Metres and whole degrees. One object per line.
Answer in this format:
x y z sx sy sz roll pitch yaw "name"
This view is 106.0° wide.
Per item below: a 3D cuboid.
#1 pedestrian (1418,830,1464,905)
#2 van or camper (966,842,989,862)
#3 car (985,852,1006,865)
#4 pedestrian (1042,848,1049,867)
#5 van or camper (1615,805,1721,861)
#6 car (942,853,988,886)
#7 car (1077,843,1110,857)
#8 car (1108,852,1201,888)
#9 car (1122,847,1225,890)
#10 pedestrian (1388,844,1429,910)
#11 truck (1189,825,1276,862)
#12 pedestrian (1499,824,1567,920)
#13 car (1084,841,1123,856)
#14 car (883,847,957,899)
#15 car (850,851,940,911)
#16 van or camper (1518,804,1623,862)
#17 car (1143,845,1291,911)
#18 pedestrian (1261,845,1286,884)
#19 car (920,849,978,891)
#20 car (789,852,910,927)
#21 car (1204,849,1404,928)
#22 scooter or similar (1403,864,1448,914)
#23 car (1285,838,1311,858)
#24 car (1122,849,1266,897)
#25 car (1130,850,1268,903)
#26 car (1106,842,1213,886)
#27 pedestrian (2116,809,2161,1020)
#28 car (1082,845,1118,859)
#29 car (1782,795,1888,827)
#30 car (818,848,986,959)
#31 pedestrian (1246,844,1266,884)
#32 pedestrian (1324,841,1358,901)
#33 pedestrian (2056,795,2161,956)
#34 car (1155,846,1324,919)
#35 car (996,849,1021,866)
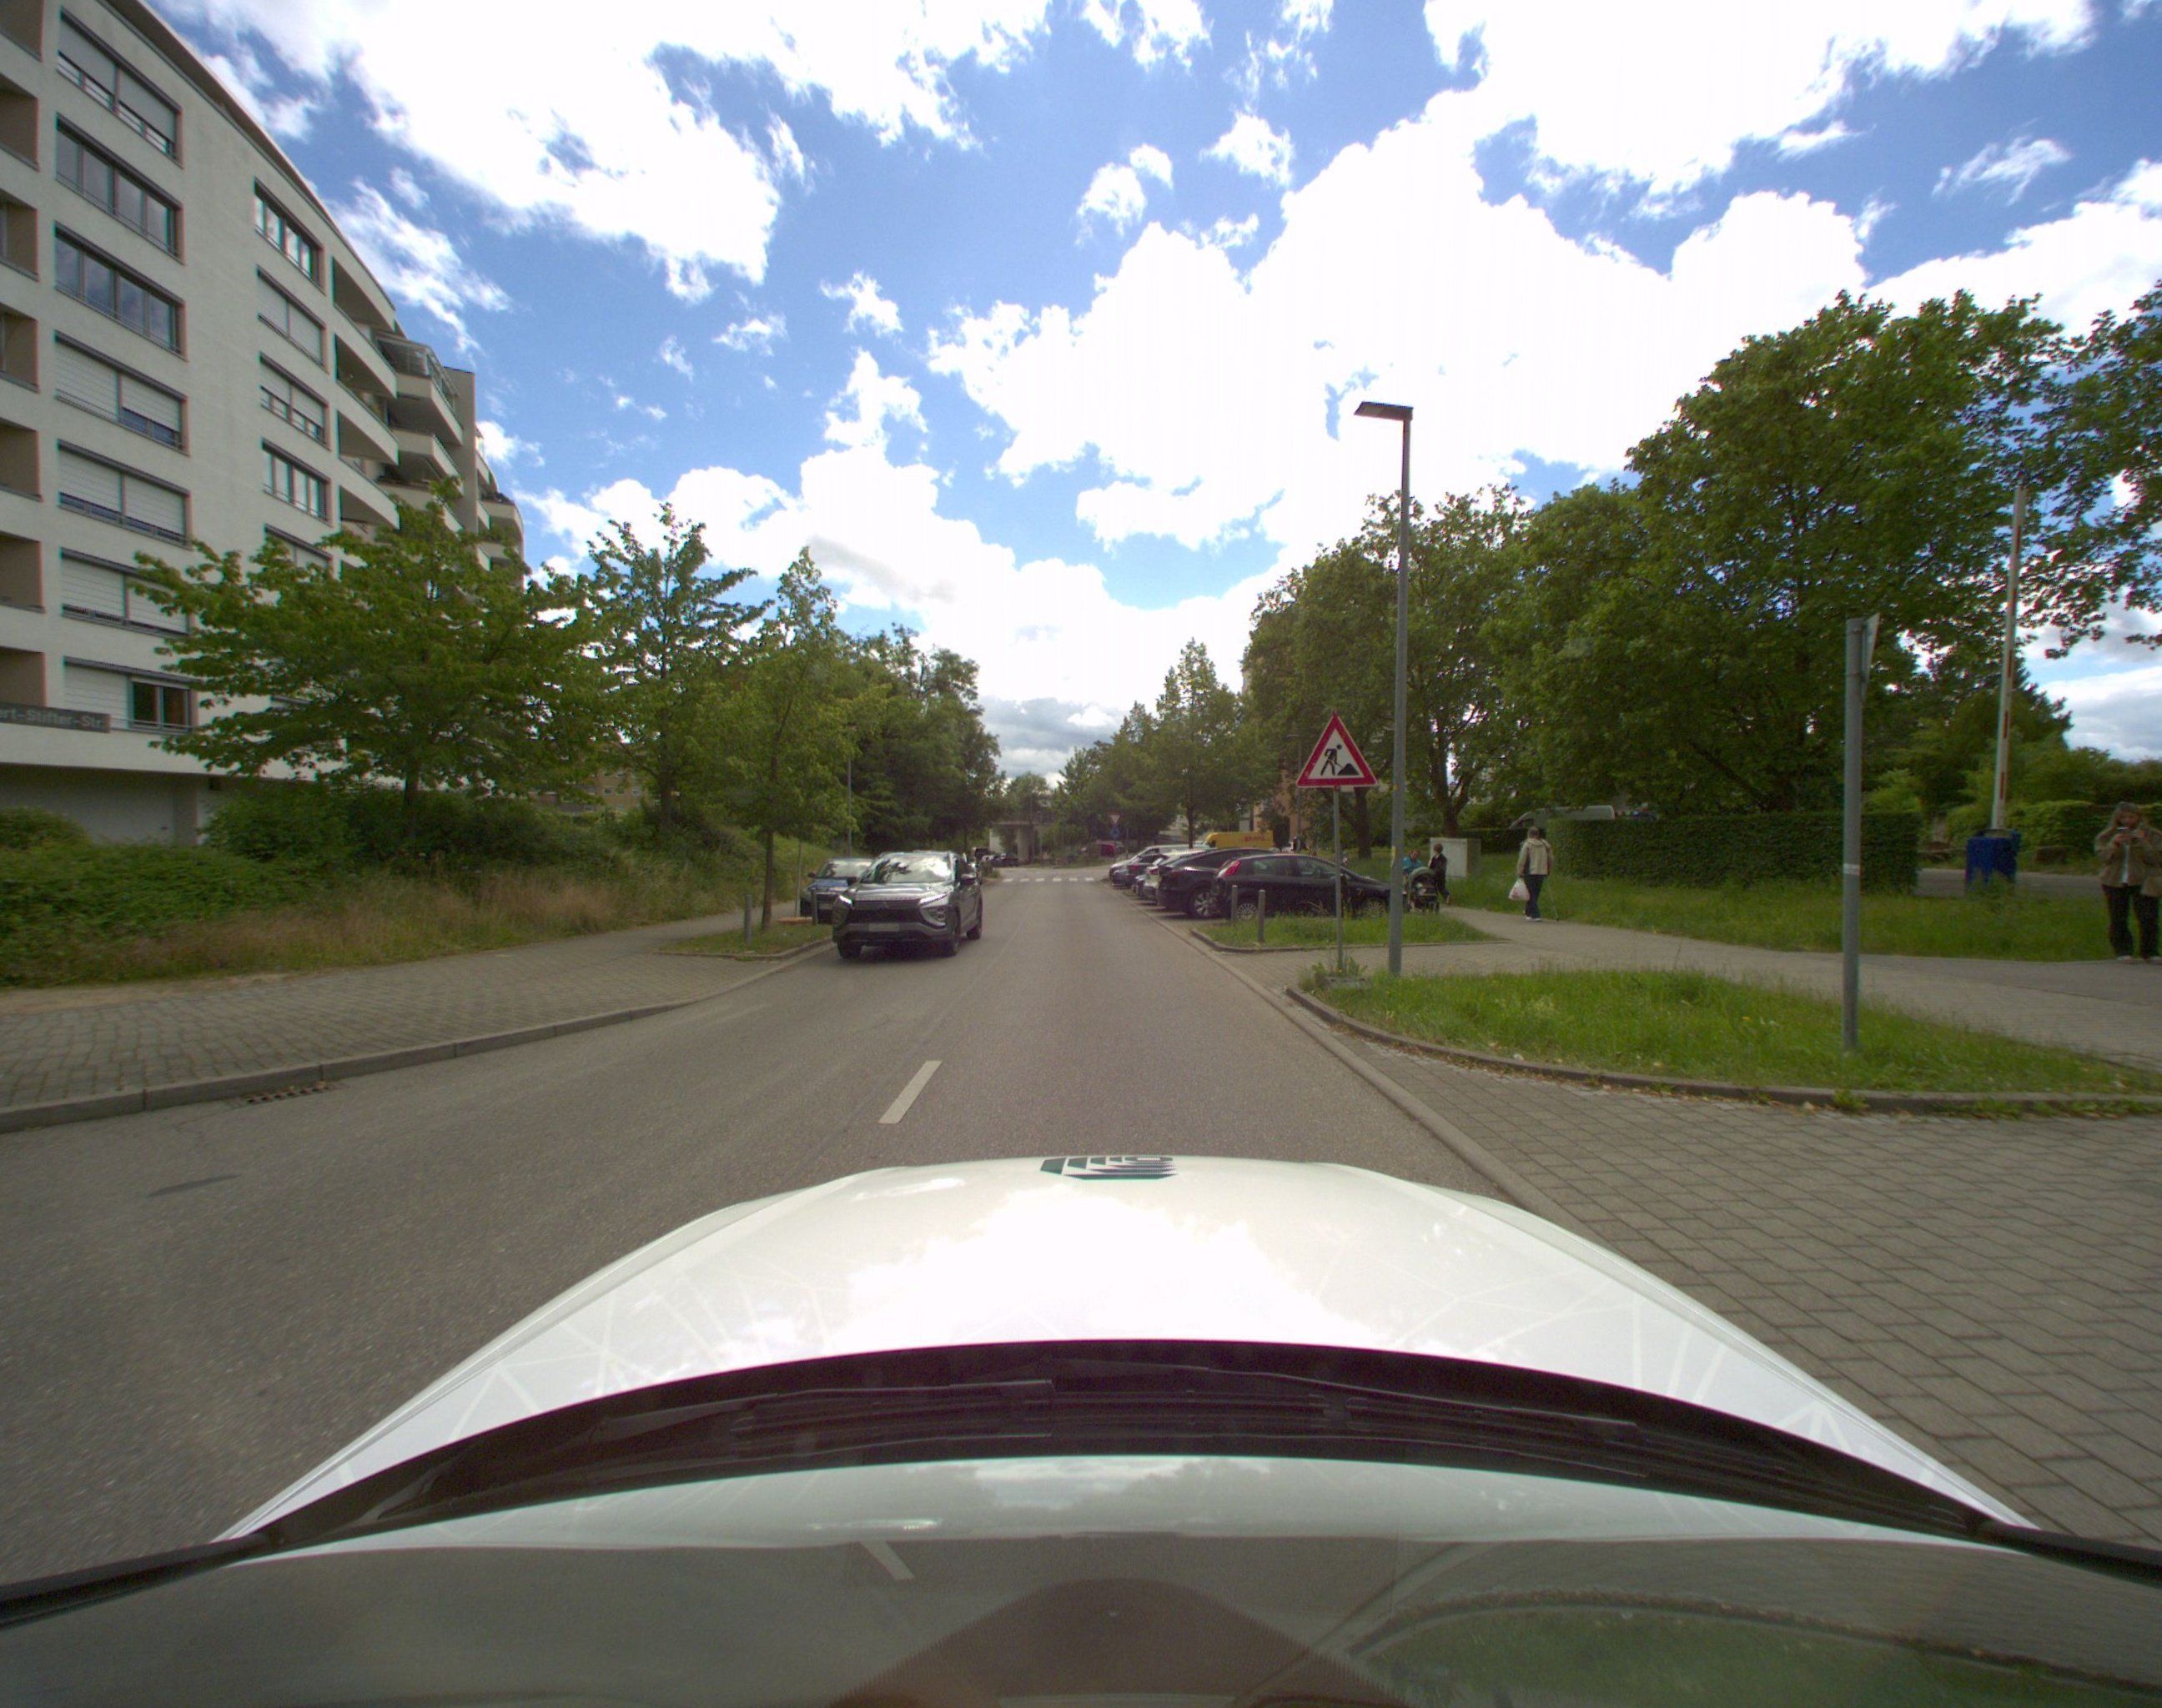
8.822 0.322 20.000 0.737 1.792 0.878 0 0 -1 "pedestrian"
-14.121 -0.210 110.905 1.999 2.523 5.437 -3 0 -18 "van or camper"
-10.520 0.610 100.150 1.704 1.496 4.093 -1 0 -18 "car"
-3.322 0.329 76.581 0.656 1.721 0.739 0 0 -2 "pedestrian"
30.827 -1.087 42.902 4.422 2.798 2.128 1 0 35 "van or camper"
-5.828 0.725 41.334 1.685 1.465 4.454 3 0 -1 "car"
1.416 -0.461 90.329 3.633 1.498 1.686 0 0 4 "car"
3.107 0.671 35.066 3.812 1.371 1.842 -2 0 0 "car"
3.689 0.555 32.871 3.816 1.520 1.909 -2 0 -4 "car"
7.406 0.515 18.450 0.617 1.468 0.735 0 0 -1 "pedestrian"
12.633 -0.837 68.268 6.784 2.704 2.471 -1 -7 -2 "truck"
8.703 0.337 15.709 0.828 1.792 0.878 0 0 -1 "pedestrian"
2.598 -0.650 95.096 4.526 1.668 1.945 0 0 1 "car"
-5.781 0.631 29.706 1.802 1.664 4.435 3 1 -1 "car"
-5.395 0.738 24.177 1.685 1.511 4.229 3 1 -1 "car"
24.601 -1.043 41.074 4.423 2.798 2.128 0 0 31 "van or camper"
3.541 0.612 21.670 3.657 1.647 1.852 -1 0 0 "car"
8.107 0.433 34.330 0.867 1.657 0.592 0 0 -3 "pedestrian"
-5.662 0.655 35.480 1.794 1.615 4.476 3 1 -1 "car"
-5.352 0.752 19.341 1.684 1.487 3.952 3 1 -1 "car"
4.469 0.667 16.683 3.657 1.498 1.645 -1 0 0 "car"
7.446 0.746 17.625 0.578 1.023 0.944 0 0 -1 "scooter or similar"
19.362 -0.554 72.813 1.560 1.658 3.783 -2 0 6 "car"
3.816 0.627 27.896 4.569 1.492 1.948 -1 0 -6 "car"
3.498 0.659 24.490 3.968 1.519 1.886 0 0 5 "car"
3.629 0.444 38.201 4.763 1.831 1.841 -2 0 -3 "car"
8.621 0.469 6.090 0.681 1.621 0.936 0 0 18 "pedestrian"
2.018 -0.212 85.029 3.633 1.439 1.686 0 0 4 "car"
40.512 -2.255 43.866 3.948 1.574 1.777 1 1 34 "car"
-2.799 0.711 13.741 1.890 1.582 4.167 0 0 0 "car"
7.377 0.403 34.290 0.687 1.657 0.599 0 0 -3 "pedestrian"
7.814 0.504 24.540 0.737 1.792 0.878 0 0 -1 "pedestrian"
11.521 0.228 8.998 0.650 1.711 0.707 0 0 5 "pedestrian"
3.606 0.628 18.969 3.657 1.574 1.594 -1 1 0 "car"
-8.386 0.398 93.945 1.819 1.678 4.340 -1 -3 -19 "car"
